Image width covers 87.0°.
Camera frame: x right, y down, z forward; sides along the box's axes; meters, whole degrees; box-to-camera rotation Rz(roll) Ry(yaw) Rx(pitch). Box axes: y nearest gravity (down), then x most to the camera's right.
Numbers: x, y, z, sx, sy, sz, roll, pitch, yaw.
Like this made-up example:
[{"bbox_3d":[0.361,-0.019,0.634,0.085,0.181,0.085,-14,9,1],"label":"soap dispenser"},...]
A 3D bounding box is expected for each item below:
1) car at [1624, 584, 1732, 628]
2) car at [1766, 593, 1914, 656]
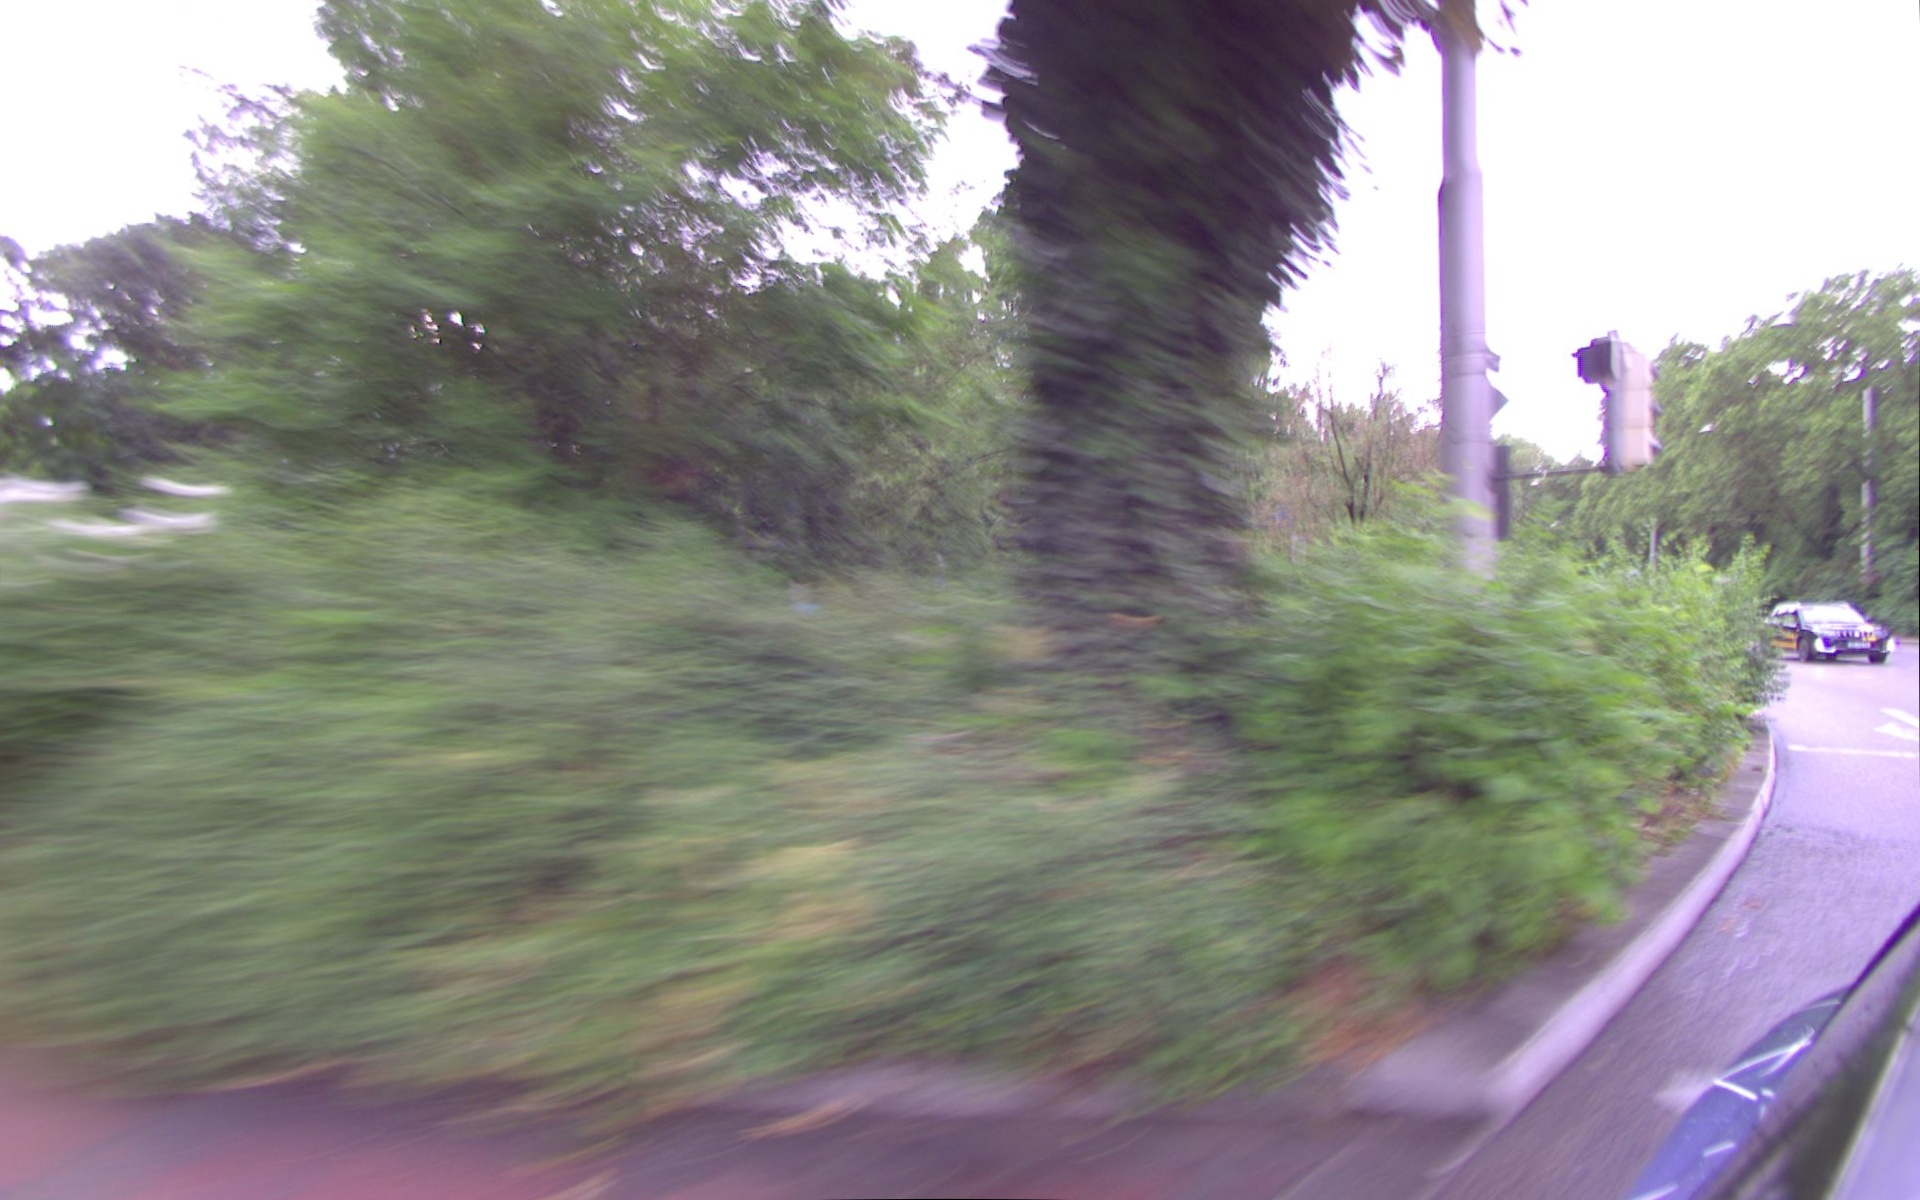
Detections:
[{"bbox_3d":[30.900,0.202,43.750,1.968,1.766,4.642,0,1,10],"label":"car"},{"bbox_3d":[24.299,0.635,28.128,1.909,1.560,3.970,-1,1,22],"label":"car"}]
